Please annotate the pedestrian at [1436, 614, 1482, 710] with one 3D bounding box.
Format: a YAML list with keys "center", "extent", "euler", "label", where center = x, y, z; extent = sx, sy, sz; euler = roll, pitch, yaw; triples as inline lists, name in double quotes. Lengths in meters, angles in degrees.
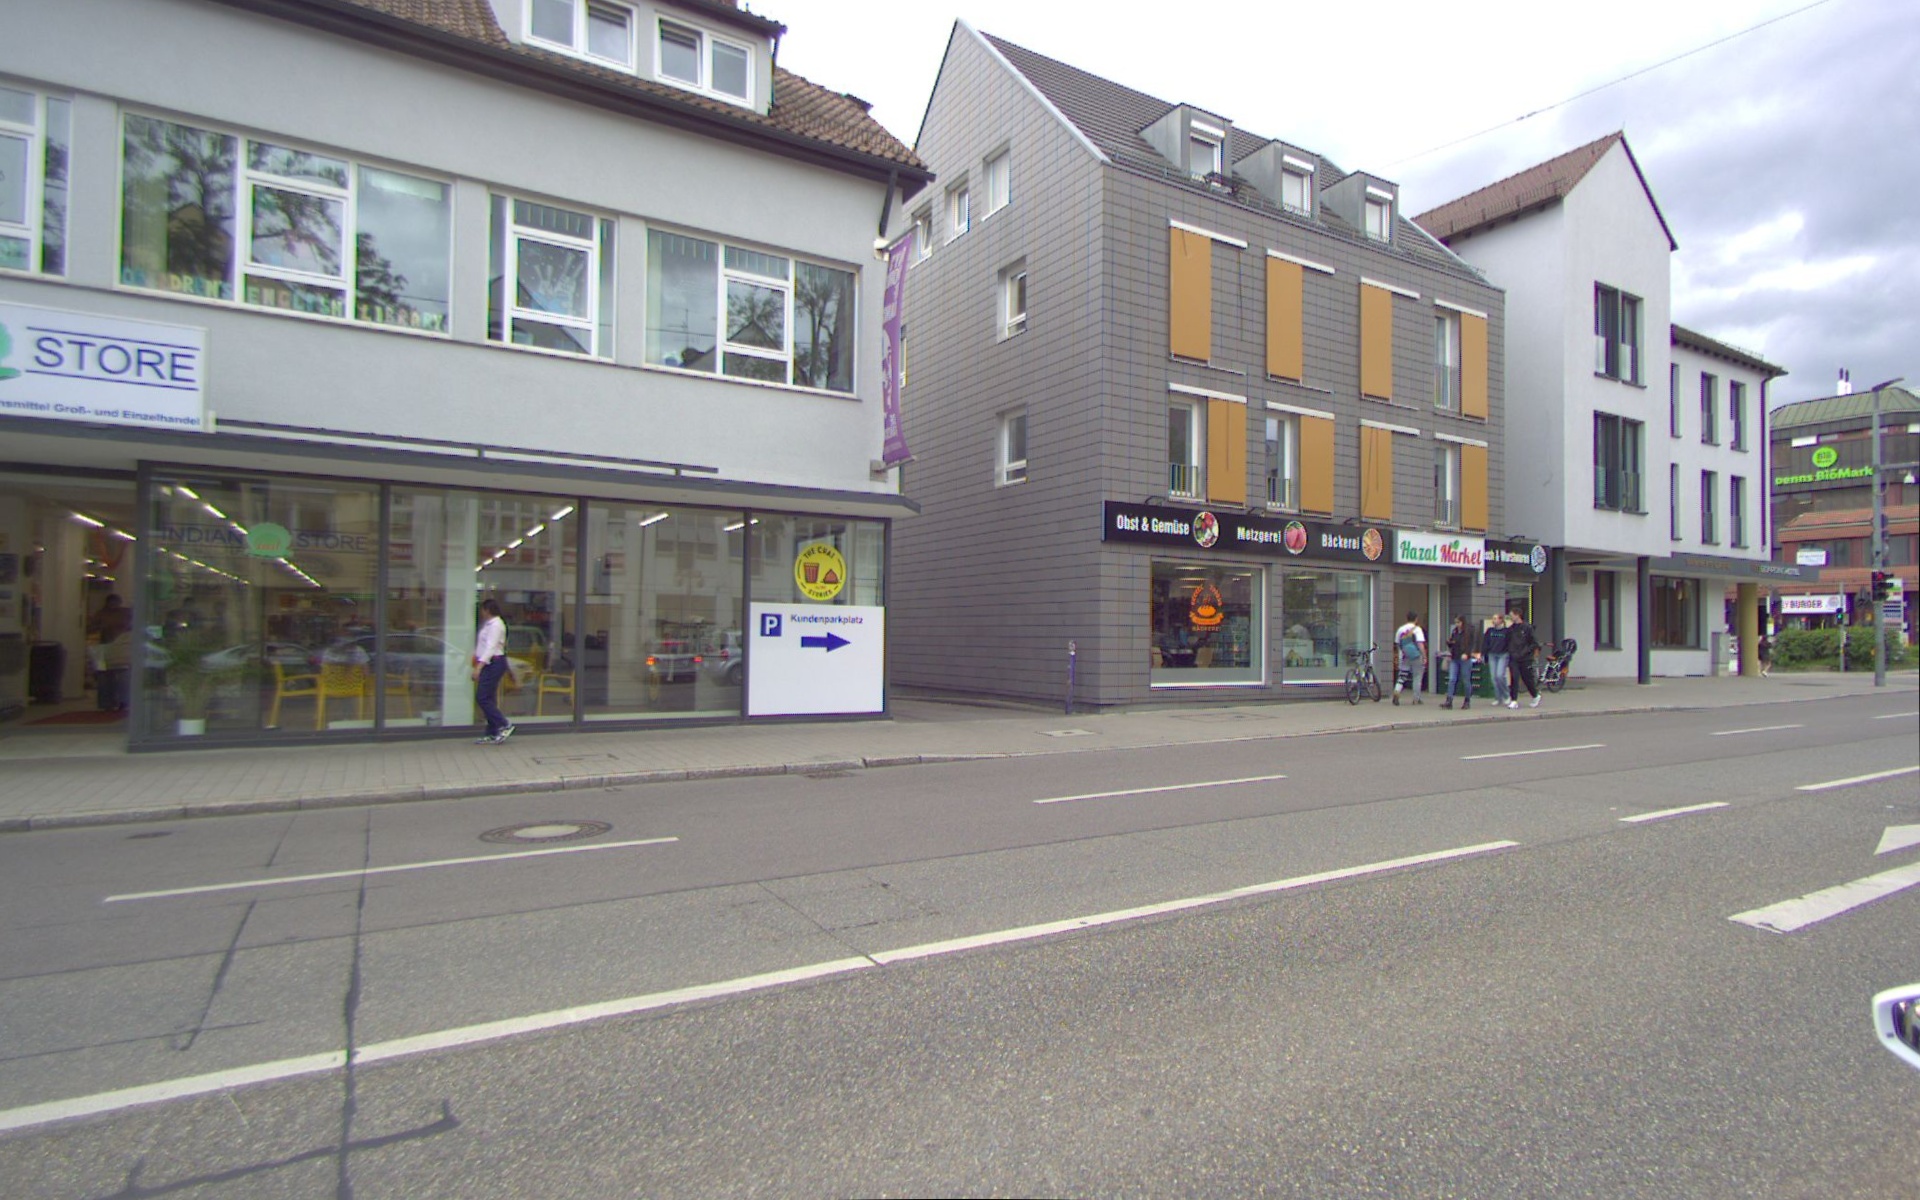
- center: [8.933, 1.093, 17.983]
  extent: [0.643, 1.672, 0.557]
  euler: [0, -1, 36]
  label: "pedestrian"

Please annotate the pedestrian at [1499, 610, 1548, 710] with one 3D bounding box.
- center: [10.446, 1.096, 18.628]
  extent: [0.640, 1.799, 0.565]
  euler: [1, -1, -33]
  label: "pedestrian"

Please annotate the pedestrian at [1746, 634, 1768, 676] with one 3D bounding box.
- center: [32.590, 2.243, 41.063]
  extent: [0.694, 1.680, 0.936]
  euler: [0, -1, 39]
  label: "pedestrian"

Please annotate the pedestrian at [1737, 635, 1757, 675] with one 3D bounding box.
- center: [33.445, 2.307, 42.679]
  extent: [0.654, 1.671, 0.790]
  euler: [0, -1, 39]
  label: "pedestrian"

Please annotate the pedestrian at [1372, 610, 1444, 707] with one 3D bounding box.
- center: [8.402, 1.076, 18.840]
  extent: [0.969, 1.728, 0.750]
  euler: [1, 2, -30]
  label: "pedestrian"

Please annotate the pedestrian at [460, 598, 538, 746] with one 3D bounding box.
- center: [-5.302, 0.802, 11.541]
  extent: [0.744, 1.631, 0.725]
  euler: [1, -1, -30]
  label: "pedestrian"

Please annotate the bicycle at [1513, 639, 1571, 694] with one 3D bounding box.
- center: [13.271, 1.500, 22.893]
  extent: [1.807, 1.201, 0.384]
  euler: [1, -2, -34]
  label: "bicycle"

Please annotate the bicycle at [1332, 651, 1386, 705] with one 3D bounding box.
- center: [7.610, 1.472, 19.137]
  extent: [1.472, 0.966, 0.323]
  euler: [2, -2, -42]
  label: "bicycle"

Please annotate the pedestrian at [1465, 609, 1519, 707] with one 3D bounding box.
- center: [10.156, 1.091, 19.196]
  extent: [0.641, 1.814, 0.678]
  euler: [1, -1, -30]
  label: "pedestrian"
